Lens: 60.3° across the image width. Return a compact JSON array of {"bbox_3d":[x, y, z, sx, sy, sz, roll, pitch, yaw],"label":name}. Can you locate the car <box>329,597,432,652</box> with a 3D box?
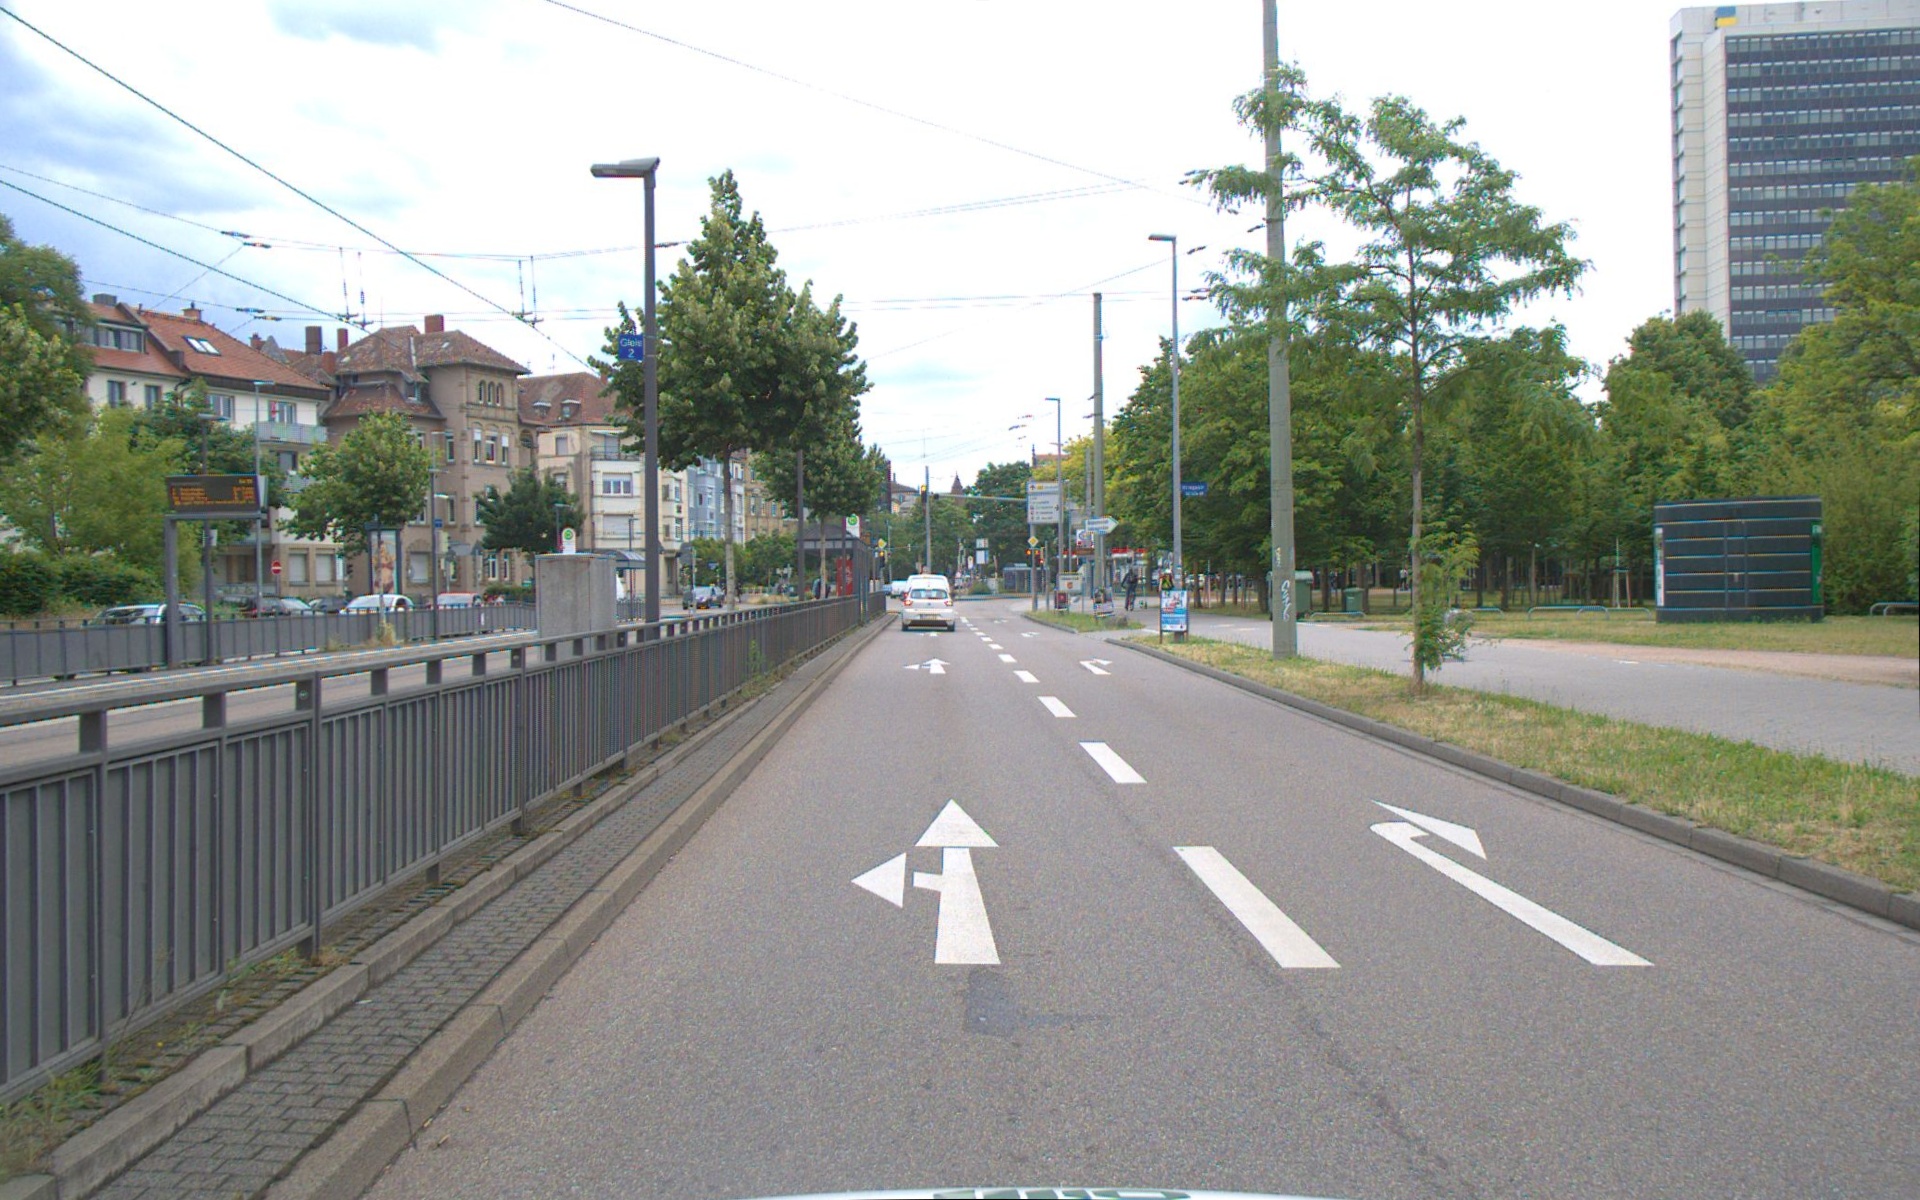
[{"bbox_3d":[-17.213,0.697,49.307,1.734,1.519,3.886,-1,0,-1],"label":"car"}]

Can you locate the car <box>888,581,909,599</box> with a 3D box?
[{"bbox_3d":[-6.166,-1.005,166.790,1.733,1.713,3.888,-1,0,2],"label":"car"}]

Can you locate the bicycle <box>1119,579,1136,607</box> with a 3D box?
[{"bbox_3d":[7.272,-0.293,71.762,0.664,1.175,1.900,-2,1,8],"label":"bicycle"}]

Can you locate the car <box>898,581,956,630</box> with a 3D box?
[{"bbox_3d":[-1.016,0.145,53.195,1.746,1.498,4.010,-1,1,0],"label":"car"}]

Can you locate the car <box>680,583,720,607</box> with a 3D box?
[{"bbox_3d":[-17.518,-0.348,111.514,1.733,1.519,3.889,-1,0,5],"label":"car"}]

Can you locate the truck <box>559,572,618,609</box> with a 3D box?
[{"bbox_3d":[-21.534,-0.561,96.003,1.750,2.068,5.399,-1,0,5],"label":"truck"}]

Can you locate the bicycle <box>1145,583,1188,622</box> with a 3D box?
[{"bbox_3d":[6.416,0.066,51.477,0.668,1.175,1.890,-2,1,-15],"label":"bicycle"}]

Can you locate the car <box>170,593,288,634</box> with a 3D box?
[{"bbox_3d":[-28.519,0.515,64.611,3.795,1.519,1.775,-1,0,-1],"label":"car"}]

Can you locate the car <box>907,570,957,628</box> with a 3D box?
[{"bbox_3d":[-1.043,-0.054,60.444,1.746,1.997,4.381,-1,1,-2],"label":"car"}]

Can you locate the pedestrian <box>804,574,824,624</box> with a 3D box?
[{"bbox_3d":[-4.469,-0.024,50.611,0.564,1.507,0.617,-2,0,-3],"label":"pedestrian"}]

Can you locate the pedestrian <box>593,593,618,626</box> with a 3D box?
[{"bbox_3d":[-14.217,0.371,66.366,0.847,1.289,0.693,-2,0,-4],"label":"pedestrian"}]

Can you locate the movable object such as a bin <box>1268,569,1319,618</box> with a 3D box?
[{"bbox_3d":[9.851,-0.196,48.905,1.256,1.414,1.159,-1,0,0],"label":"movable object such as a bin"}]

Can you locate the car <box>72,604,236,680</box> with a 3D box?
[{"bbox_3d":[-17.667,0.878,36.460,1.734,1.519,3.886,-1,0,-1],"label":"car"}]

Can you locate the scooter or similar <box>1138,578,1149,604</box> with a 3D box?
[{"bbox_3d":[8.332,-0.413,75.098,0.368,1.161,1.200,-2,0,10],"label":"scooter or similar"}]

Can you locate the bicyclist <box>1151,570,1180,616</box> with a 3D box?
[{"bbox_3d":[6.394,-0.225,51.494,0.668,1.403,0.724,-2,0,-15],"label":"bicyclist"}]
